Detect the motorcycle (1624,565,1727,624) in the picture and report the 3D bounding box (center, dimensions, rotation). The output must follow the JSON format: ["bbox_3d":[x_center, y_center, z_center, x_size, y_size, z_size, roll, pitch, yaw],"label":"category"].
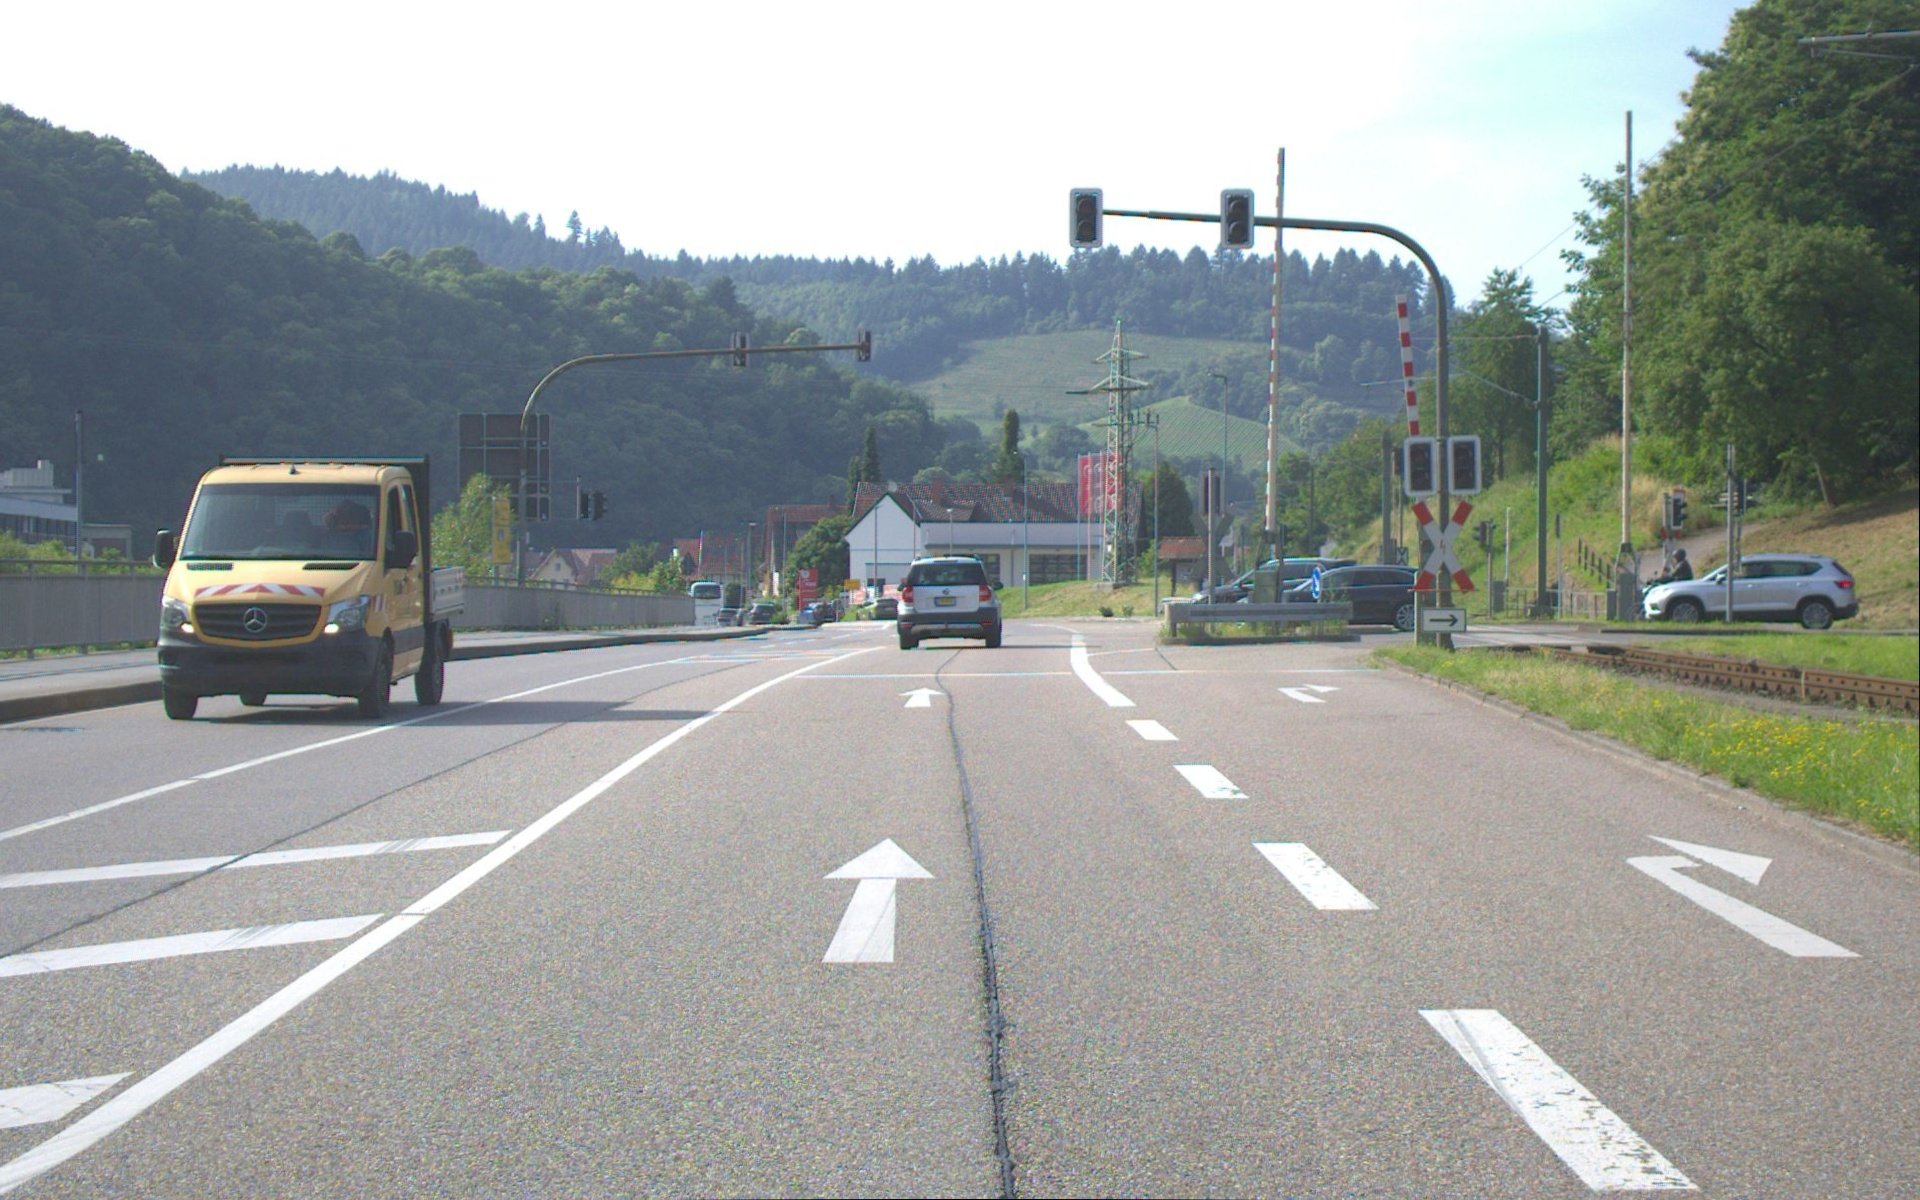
[{"bbox_3d":[15.541,-0.118,74.673,2.095,1.250,0.798,1,0,20],"label":"motorcycle"}]

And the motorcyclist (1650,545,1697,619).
[{"bbox_3d":[15.500,-0.389,74.674,0.907,1.591,0.765,1,0,18],"label":"motorcyclist"}]

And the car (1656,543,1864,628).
[{"bbox_3d":[16.590,-0.307,71.243,4.115,1.681,1.833,1,0,15],"label":"car"}]

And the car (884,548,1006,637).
[{"bbox_3d":[-0.236,-0.108,62.545,1.861,1.539,4.372,1,-1,4],"label":"car"}]

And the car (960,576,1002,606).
[{"bbox_3d":[1.024,-0.461,170.327,1.453,1.430,2.936,1,1,-12],"label":"car"}]

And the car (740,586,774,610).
[{"bbox_3d":[-12.990,-0.130,219.674,1.453,1.430,2.936,1,1,-18],"label":"car"}]

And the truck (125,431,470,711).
[{"bbox_3d":[-6.120,-0.277,32.507,2.164,2.379,5.854,1,1,-1],"label":"truck"}]

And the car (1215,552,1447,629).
[{"bbox_3d":[7.745,-0.199,72.104,4.727,1.465,1.841,-1,0,4],"label":"car"}]

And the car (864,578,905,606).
[{"bbox_3d":[-4.070,-0.430,184.752,1.453,1.430,2.936,1,1,-18],"label":"car"}]

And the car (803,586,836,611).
[{"bbox_3d":[-8.178,-0.084,200.514,1.232,1.430,2.641,-2,1,-18],"label":"car"}]
